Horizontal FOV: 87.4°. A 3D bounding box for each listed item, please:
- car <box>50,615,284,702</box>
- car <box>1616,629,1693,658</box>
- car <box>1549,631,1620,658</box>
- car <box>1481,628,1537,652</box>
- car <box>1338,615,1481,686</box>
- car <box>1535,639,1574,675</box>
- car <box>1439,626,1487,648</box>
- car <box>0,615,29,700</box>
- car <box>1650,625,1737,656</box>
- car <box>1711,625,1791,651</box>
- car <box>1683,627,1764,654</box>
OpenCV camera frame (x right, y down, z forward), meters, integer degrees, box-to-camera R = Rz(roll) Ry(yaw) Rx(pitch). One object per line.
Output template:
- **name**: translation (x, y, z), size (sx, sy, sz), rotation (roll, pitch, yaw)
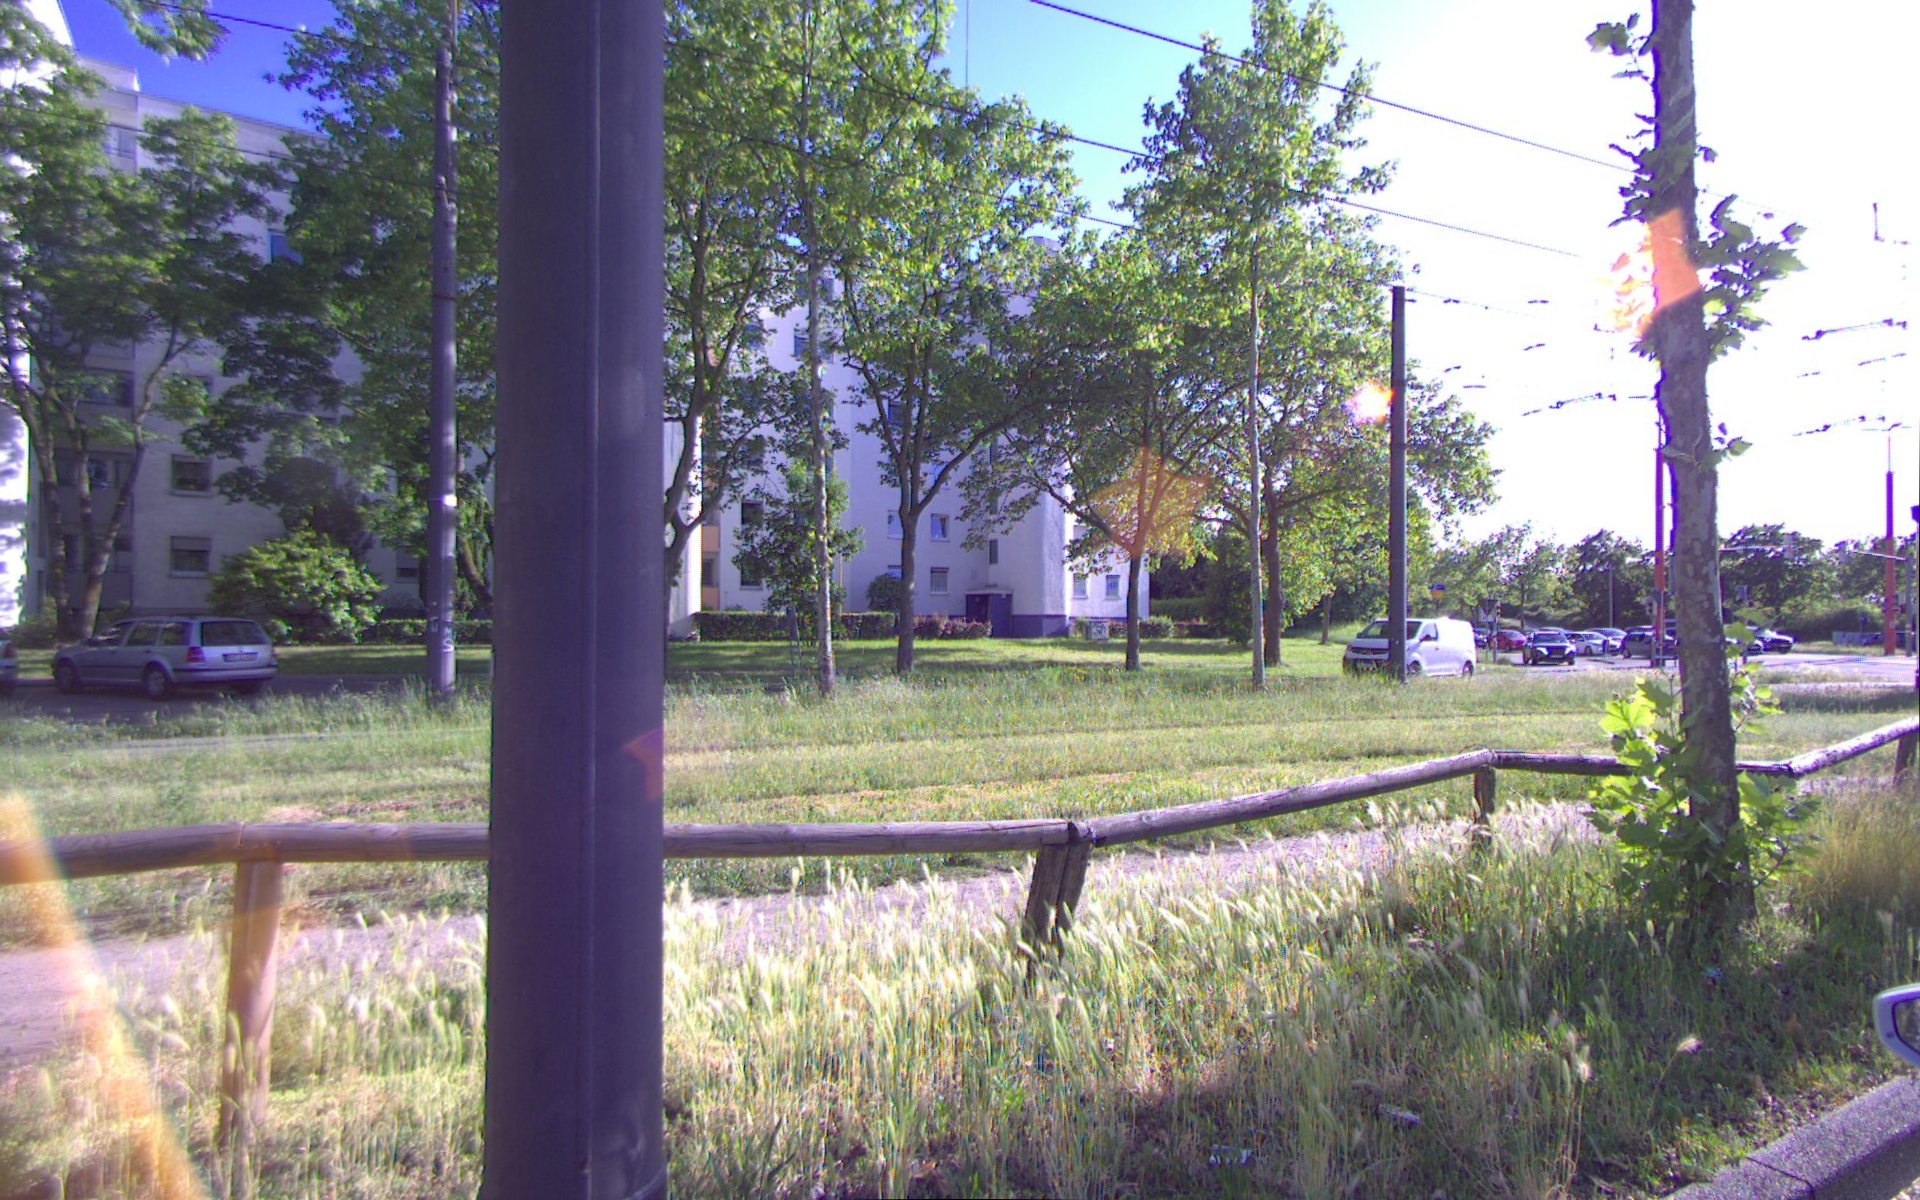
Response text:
- **car**: translation (-14.533, 1.009, 18.428), size (3.830, 1.421, 1.581), rotation (1, 0, 20)
- **car**: translation (38.966, 2.407, 56.448), size (1.624, 1.460, 3.841), rotation (1, -1, -2)
- **car**: translation (38.918, 2.755, 62.736), size (1.624, 1.540, 4.638), rotation (1, -1, 1)
- **car**: translation (38.448, 2.776, 70.451), size (1.624, 1.540, 4.200), rotation (1, -1, 1)
- **car**: translation (12.876, 1.381, 28.637), size (4.863, 1.845, 1.812), rotation (1, -1, -40)
- **car**: translation (30.200, 2.846, 51.001), size (1.628, 1.640, 4.284), rotation (1, -1, 32)
- **car**: translation (38.660, 2.816, 77.254), size (1.624, 1.540, 4.200), rotation (1, -1, 1)
- **car**: translation (-17.983, 0.946, 17.153), size (3.567, 1.421, 1.581), rotation (1, 0, 20)
- **car**: translation (42.327, 2.308, 58.105), size (1.624, 1.669, 4.644), rotation (1, -1, 1)
- **car**: translation (48.653, 2.322, 61.896), size (1.513, 1.434, 4.154), rotation (1, -1, -3)
- **car**: translation (45.575, 2.393, 60.063), size (1.513, 1.434, 4.154), rotation (1, -1, -3)
